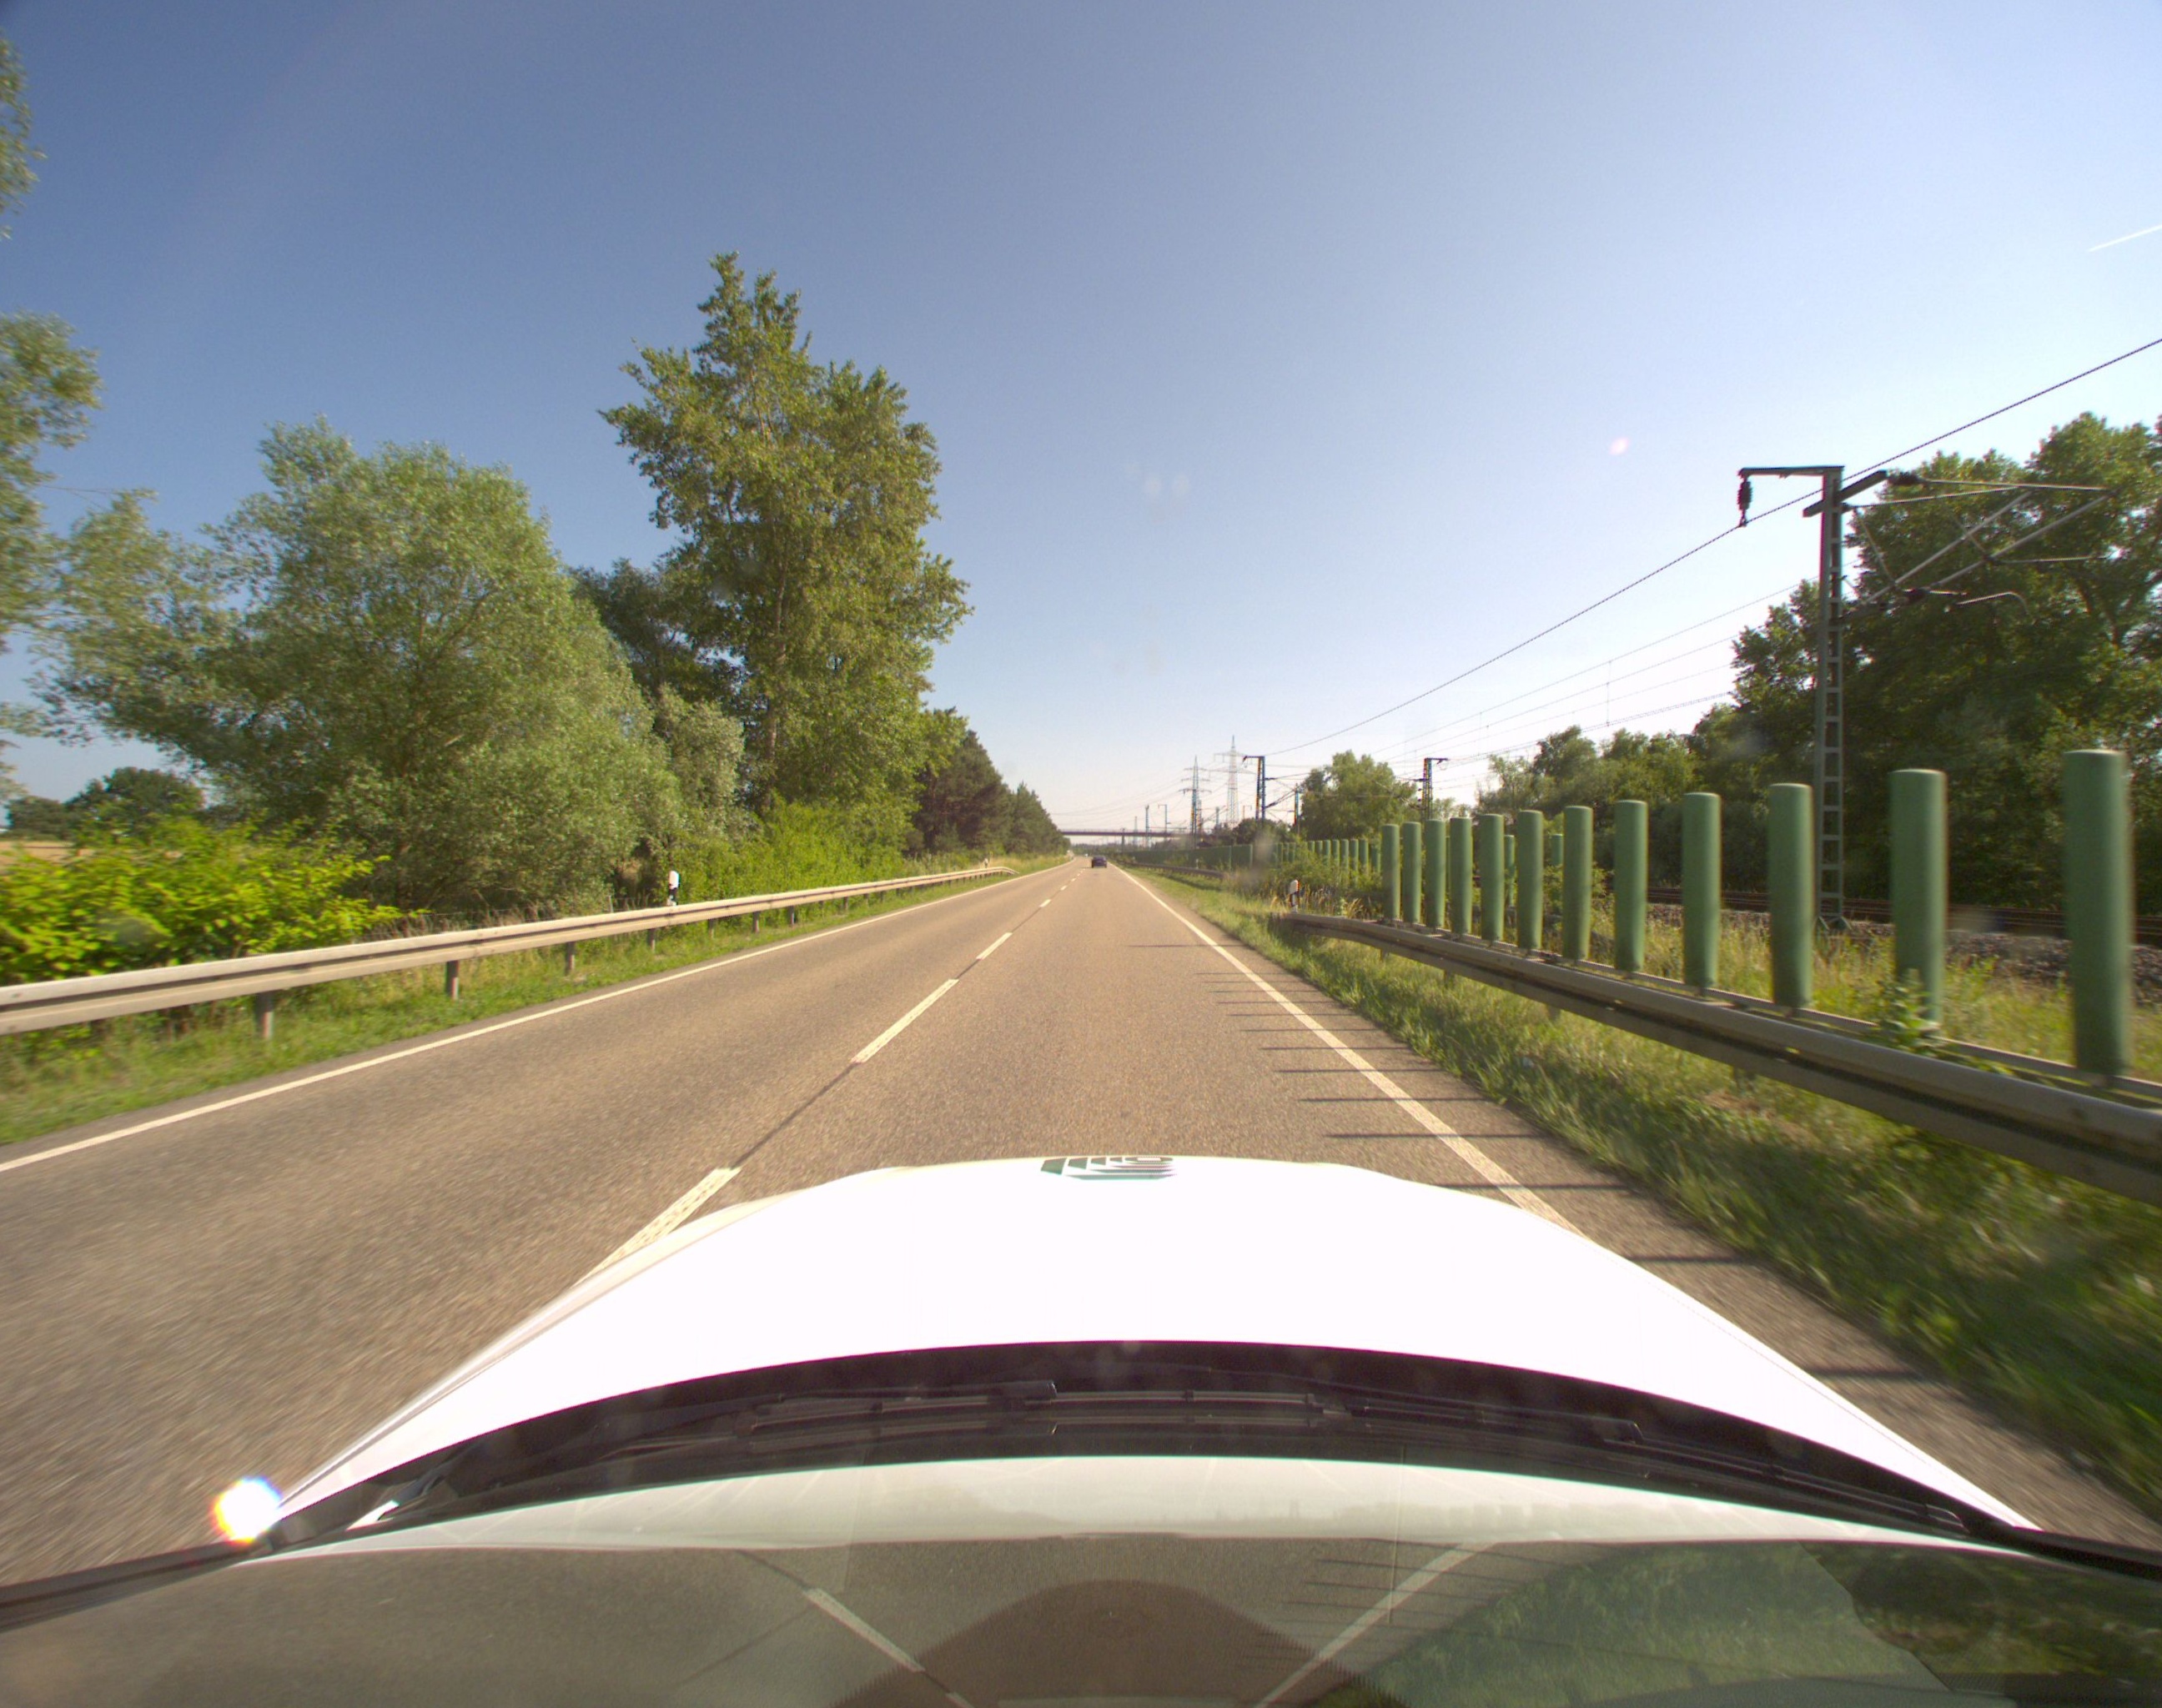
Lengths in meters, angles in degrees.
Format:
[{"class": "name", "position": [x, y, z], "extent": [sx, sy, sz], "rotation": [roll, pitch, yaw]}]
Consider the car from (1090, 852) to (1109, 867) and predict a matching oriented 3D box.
[{"class": "car", "position": [2.169, 0.627, 97.069], "extent": [1.856, 1.642, 3.993], "rotation": [-1, 0, -5]}]
